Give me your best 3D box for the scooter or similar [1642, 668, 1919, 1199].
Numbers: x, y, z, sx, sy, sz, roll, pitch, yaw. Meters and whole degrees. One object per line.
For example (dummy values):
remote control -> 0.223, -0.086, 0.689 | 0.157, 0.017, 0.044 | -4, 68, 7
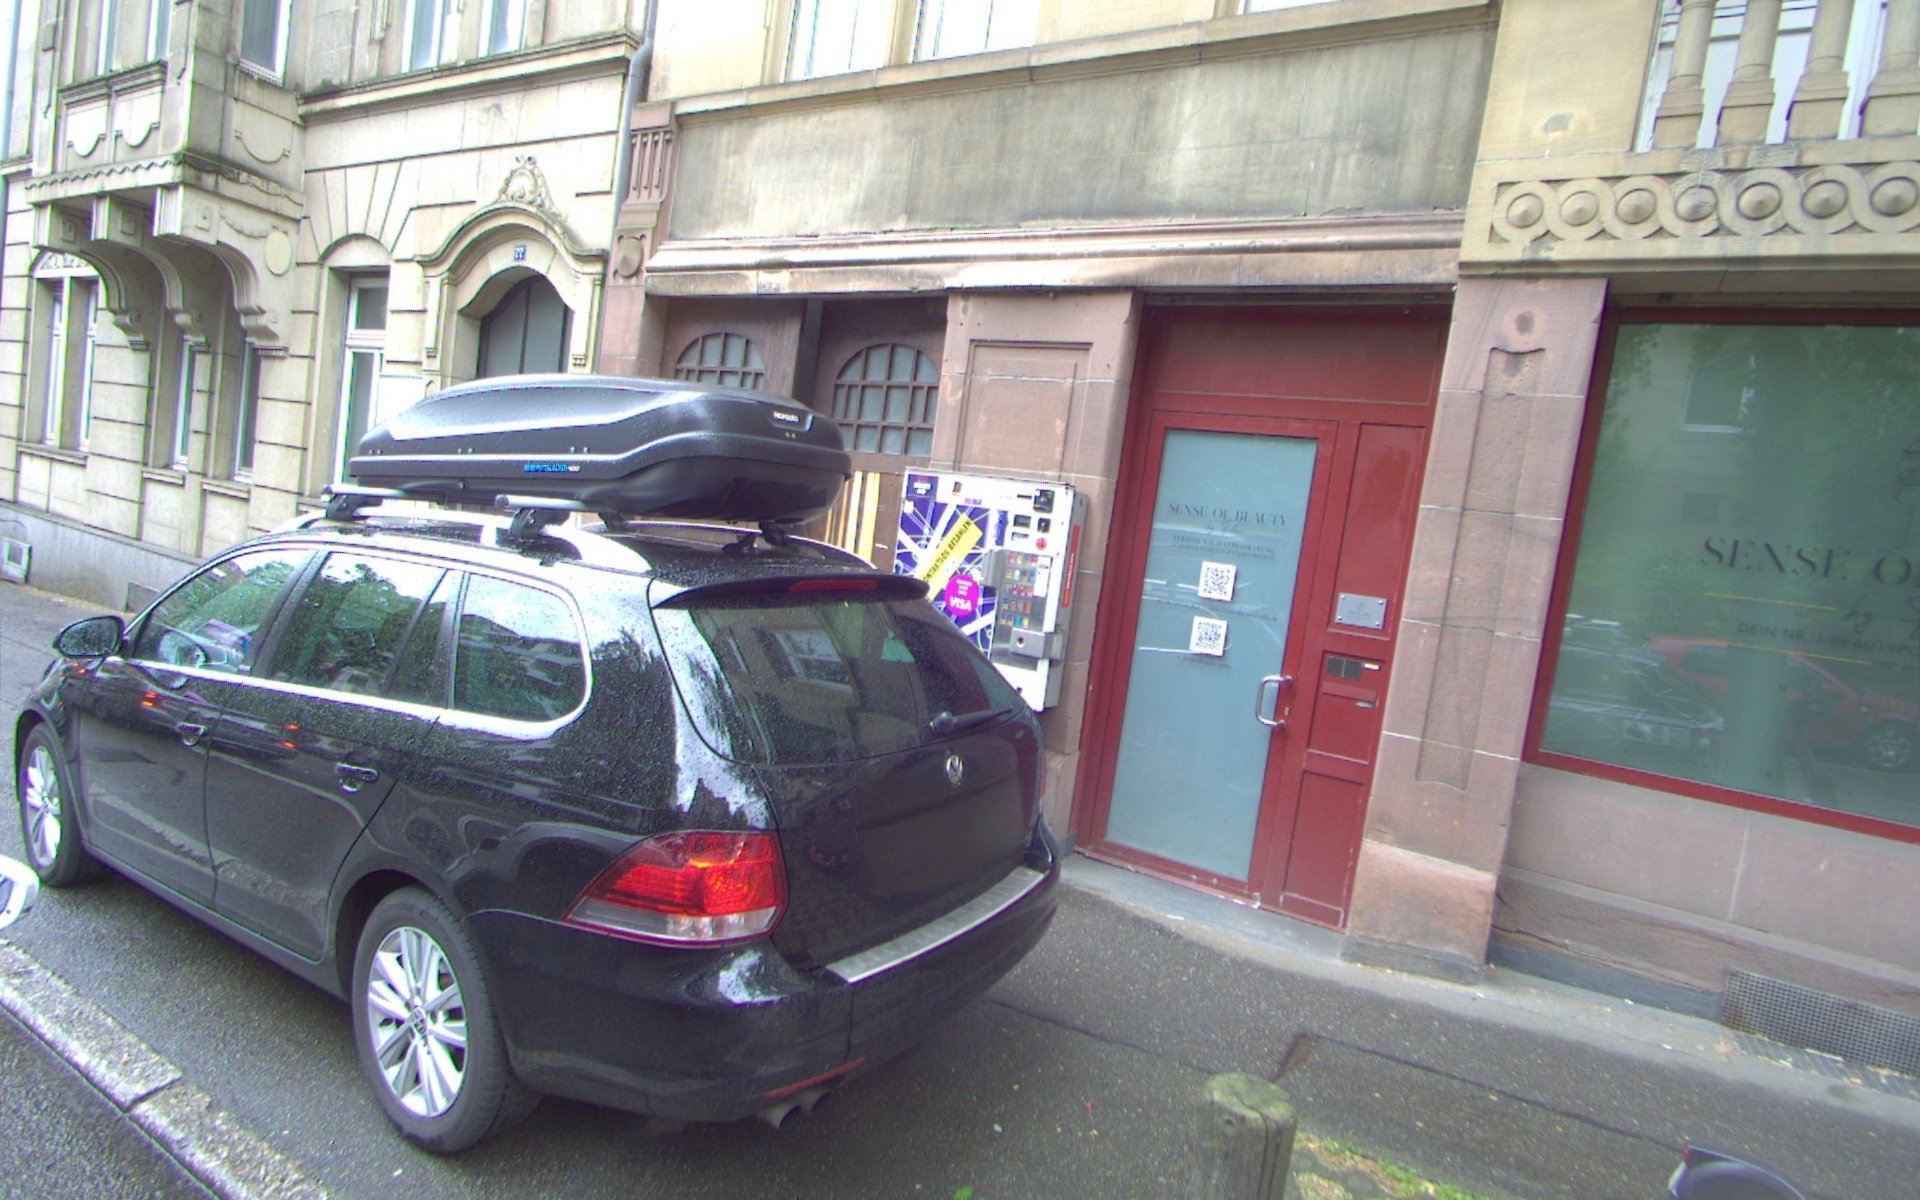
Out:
scooter or similar -> 2.118, 0.880, 1.916 | 1.183, 1.336, 0.593 | 7, 3, 32

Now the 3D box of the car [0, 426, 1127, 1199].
car -> -1.695, 0.362, 3.547 | 4.031, 1.675, 1.757 | 7, 6, 32
